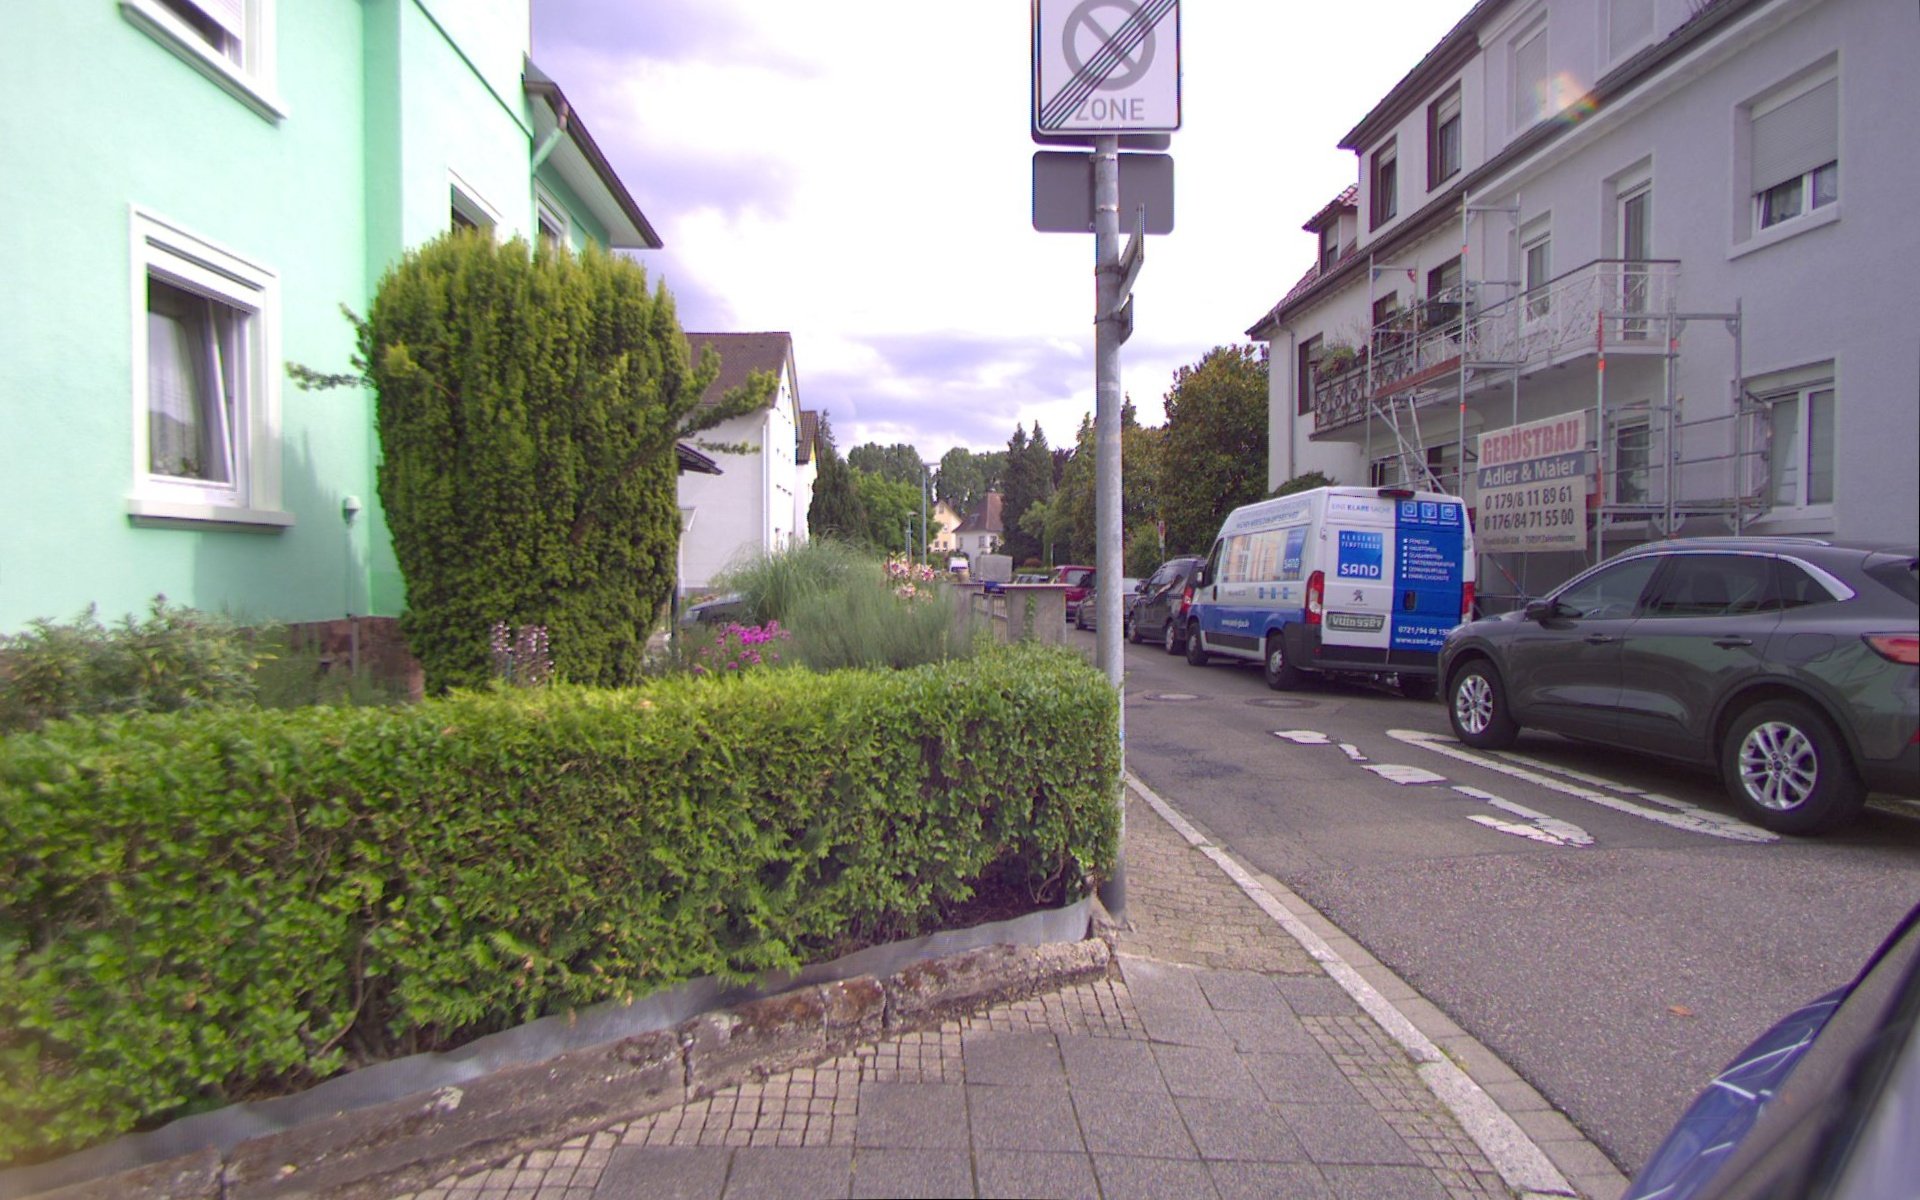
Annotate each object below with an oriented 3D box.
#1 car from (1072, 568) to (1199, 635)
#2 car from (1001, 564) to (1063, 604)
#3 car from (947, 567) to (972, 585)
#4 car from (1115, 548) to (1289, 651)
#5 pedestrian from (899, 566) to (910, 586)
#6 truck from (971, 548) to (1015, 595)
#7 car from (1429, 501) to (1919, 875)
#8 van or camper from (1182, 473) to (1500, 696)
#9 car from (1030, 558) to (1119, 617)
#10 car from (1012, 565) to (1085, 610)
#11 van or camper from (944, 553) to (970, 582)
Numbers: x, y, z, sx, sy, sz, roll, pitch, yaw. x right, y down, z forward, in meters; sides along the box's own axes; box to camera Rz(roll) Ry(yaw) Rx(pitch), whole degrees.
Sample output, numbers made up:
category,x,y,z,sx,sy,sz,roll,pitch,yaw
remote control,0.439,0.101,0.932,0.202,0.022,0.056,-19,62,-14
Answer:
category,x,y,z,sx,sy,sz,roll,pitch,yaw
car,4.187,-0.042,24.886,1.960,1.473,4.348,0,2,-6
car,3.053,-0.735,43.681,1.960,1.610,4.348,0,2,-6
car,-0.053,-1.904,80.444,1.791,1.393,4.003,0,2,-2
car,4.564,-0.086,19.832,1.960,1.794,4.348,0,2,-6
pedestrian,-3.747,-1.632,68.003,0.650,1.340,0.756,0,2,-10
truck,1.927,-1.704,60.465,2.094,2.690,4.591,0,2,-5
car,5.268,0.340,6.687,1.960,1.748,4.348,0,2,-6
van or camper,4.856,-0.266,13.922,2.155,2.489,5.060,0,2,-4
car,3.622,-0.457,32.778,1.960,1.771,4.348,0,2,-6
car,3.249,-0.519,38.039,1.960,1.610,4.348,0,2,-6
van or camper,-0.307,-3.027,93.038,2.106,2.572,5.020,0,2,-3
